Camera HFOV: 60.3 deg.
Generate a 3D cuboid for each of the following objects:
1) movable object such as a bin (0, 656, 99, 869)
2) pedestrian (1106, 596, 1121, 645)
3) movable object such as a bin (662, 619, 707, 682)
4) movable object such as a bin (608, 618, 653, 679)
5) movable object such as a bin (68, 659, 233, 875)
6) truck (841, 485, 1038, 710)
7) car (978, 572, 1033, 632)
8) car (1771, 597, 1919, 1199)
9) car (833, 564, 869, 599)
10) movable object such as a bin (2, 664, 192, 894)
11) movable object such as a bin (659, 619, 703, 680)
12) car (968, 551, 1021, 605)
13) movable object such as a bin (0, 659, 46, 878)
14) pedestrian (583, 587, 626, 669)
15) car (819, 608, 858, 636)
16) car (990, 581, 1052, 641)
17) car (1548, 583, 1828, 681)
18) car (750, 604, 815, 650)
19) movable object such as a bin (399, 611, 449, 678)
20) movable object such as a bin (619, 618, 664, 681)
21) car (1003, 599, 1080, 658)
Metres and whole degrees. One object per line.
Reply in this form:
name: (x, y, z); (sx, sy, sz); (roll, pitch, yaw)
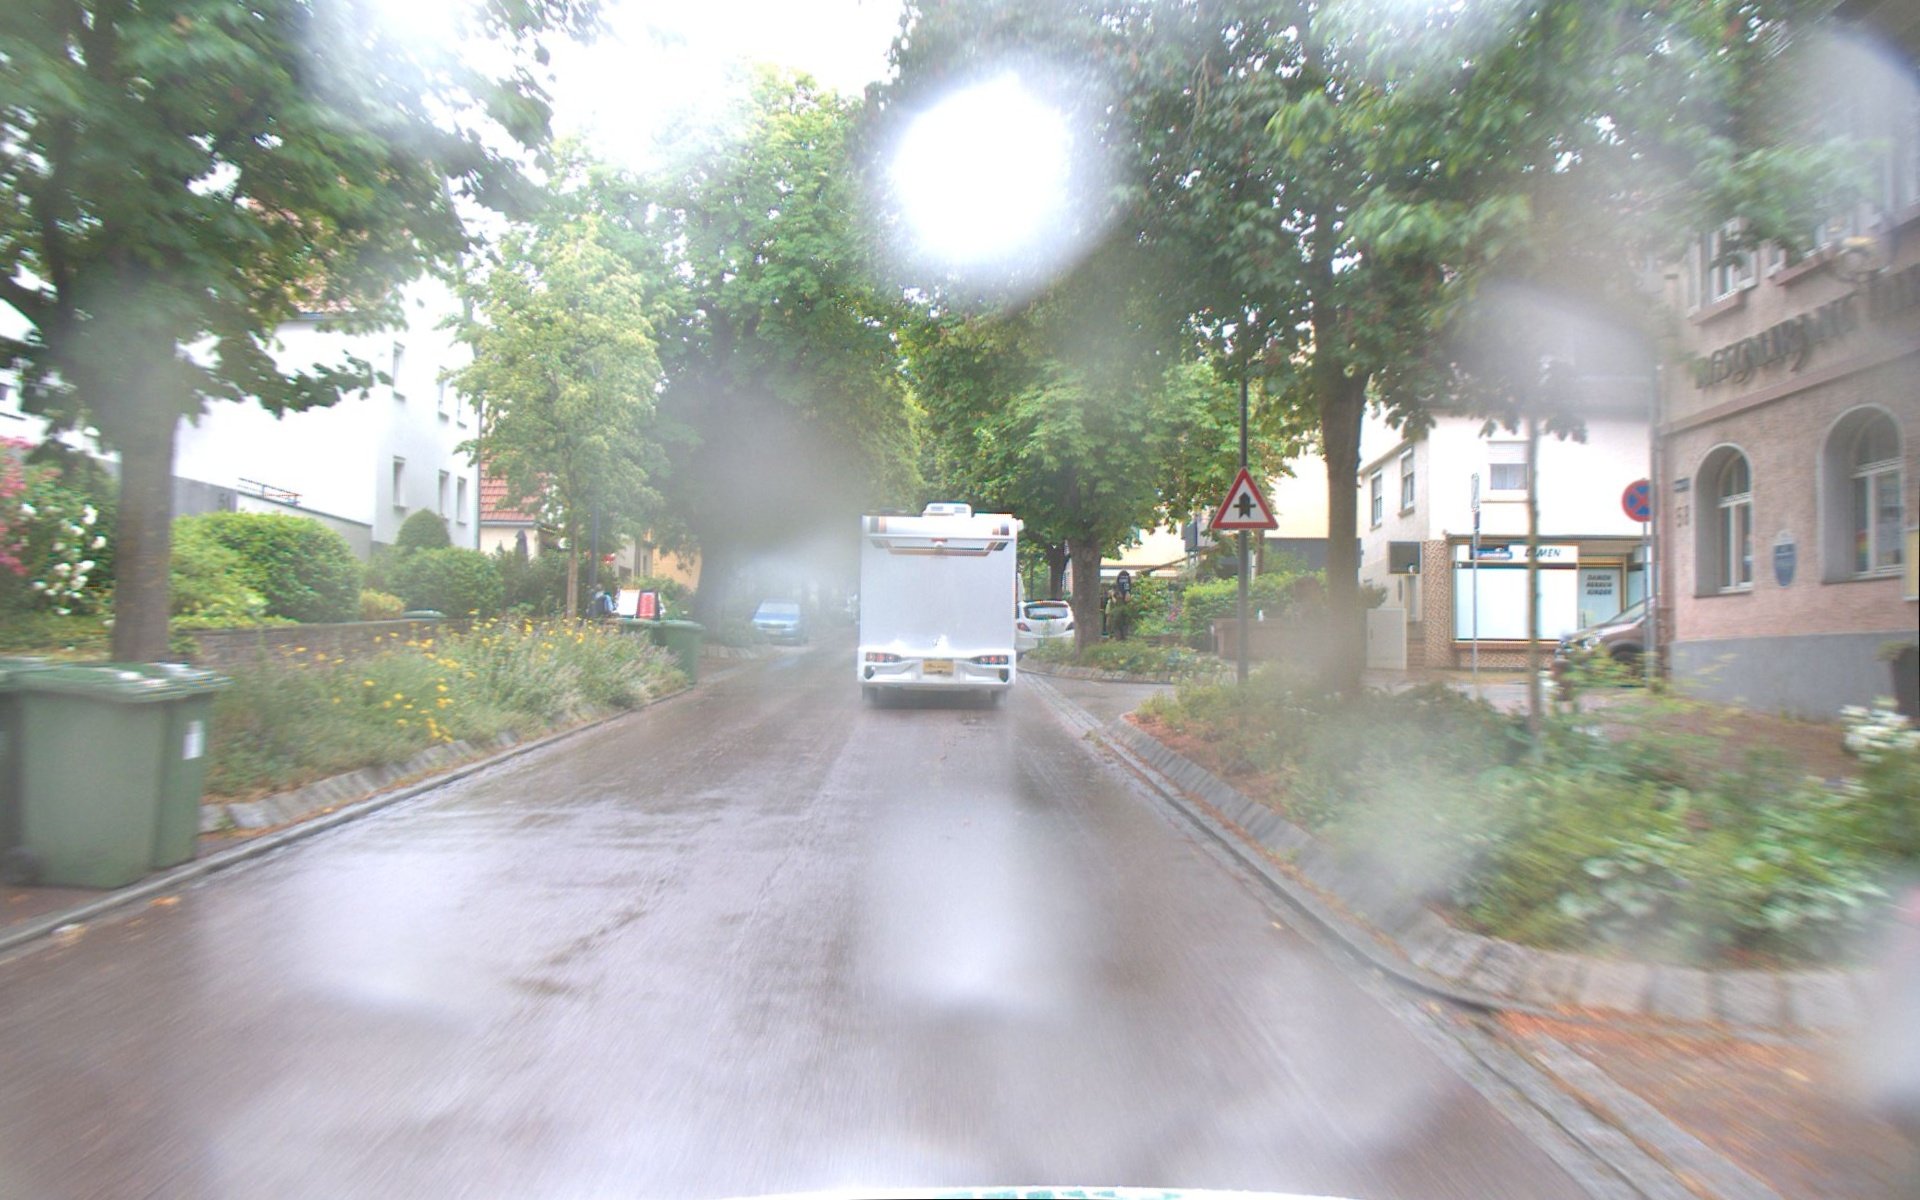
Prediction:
movable object such as a bin: (-5.141, 0.860, 8.964); (0.604, 1.077, 0.568); (3, -1, -3)
pedestrian: (5.529, 0.732, 59.716); (0.480, 1.762, 0.769); (0, 0, 9)
movable object such as a bin: (-4.837, 0.882, 29.045); (0.649, 1.093, 0.596); (0, -1, 3)
movable object such as a bin: (-5.935, 0.870, 29.807); (0.649, 1.093, 0.596); (0, -1, 3)
movable object such as a bin: (-4.388, 0.891, 8.995); (0.572, 1.095, 0.570); (3, -1, -3)
truck: (-0.326, -0.021, 25.723); (2.640, 3.038, 6.235); (1, 0, -1)
car: (1.940, 0.098, 72.097); (2.097, 2.503, 5.434); (1, 0, -1)
car: (3.176, 0.750, 2.262); (1.853, 1.495, 4.824); (0, 0, 1)
car: (-6.614, -1.134, 101.048); (1.953, 2.049, 3.999); (1, 0, -1)
movable object such as a bin: (-4.363, 0.891, 8.395); (0.615, 1.077, 0.564); (3, -1, -3)
movable object such as a bin: (-5.013, 0.882, 29.753); (0.649, 1.086, 0.596); (0, -1, 3)
car: (1.368, -0.857, 66.960); (1.953, 2.049, 3.999); (1, 0, -1)
movable object such as a bin: (-5.109, 0.845, 8.353); (0.611, 1.079, 0.582); (3, -1, -3)
pedestrian: (-7.157, 0.556, 33.344); (0.636, 1.622, 0.932); (1, 0, -1)
car: (-6.638, 1.184, 90.952); (1.736, 1.413, 4.545); (2, 0, 0)
car: (2.147, 0.398, 59.090); (1.953, 2.049, 3.999); (1, 0, -1)
car: (12.627, 0.545, 28.908); (4.093, 1.611, 1.841); (-1, 0, 5)
car: (-5.729, 0.847, 53.698); (1.714, 1.420, 3.795); (1, 0, 0)
movable object such as a bin: (-9.547, 0.786, 29.481); (0.649, 1.153, 0.659); (1, 0, 1)
movable object such as a bin: (-5.606, 0.865, 29.106); (0.649, 1.093, 0.596); (0, -1, 3)
car: (2.017, 0.694, 41.907); (1.646, 1.424, 3.793); (0, 0, -2)
